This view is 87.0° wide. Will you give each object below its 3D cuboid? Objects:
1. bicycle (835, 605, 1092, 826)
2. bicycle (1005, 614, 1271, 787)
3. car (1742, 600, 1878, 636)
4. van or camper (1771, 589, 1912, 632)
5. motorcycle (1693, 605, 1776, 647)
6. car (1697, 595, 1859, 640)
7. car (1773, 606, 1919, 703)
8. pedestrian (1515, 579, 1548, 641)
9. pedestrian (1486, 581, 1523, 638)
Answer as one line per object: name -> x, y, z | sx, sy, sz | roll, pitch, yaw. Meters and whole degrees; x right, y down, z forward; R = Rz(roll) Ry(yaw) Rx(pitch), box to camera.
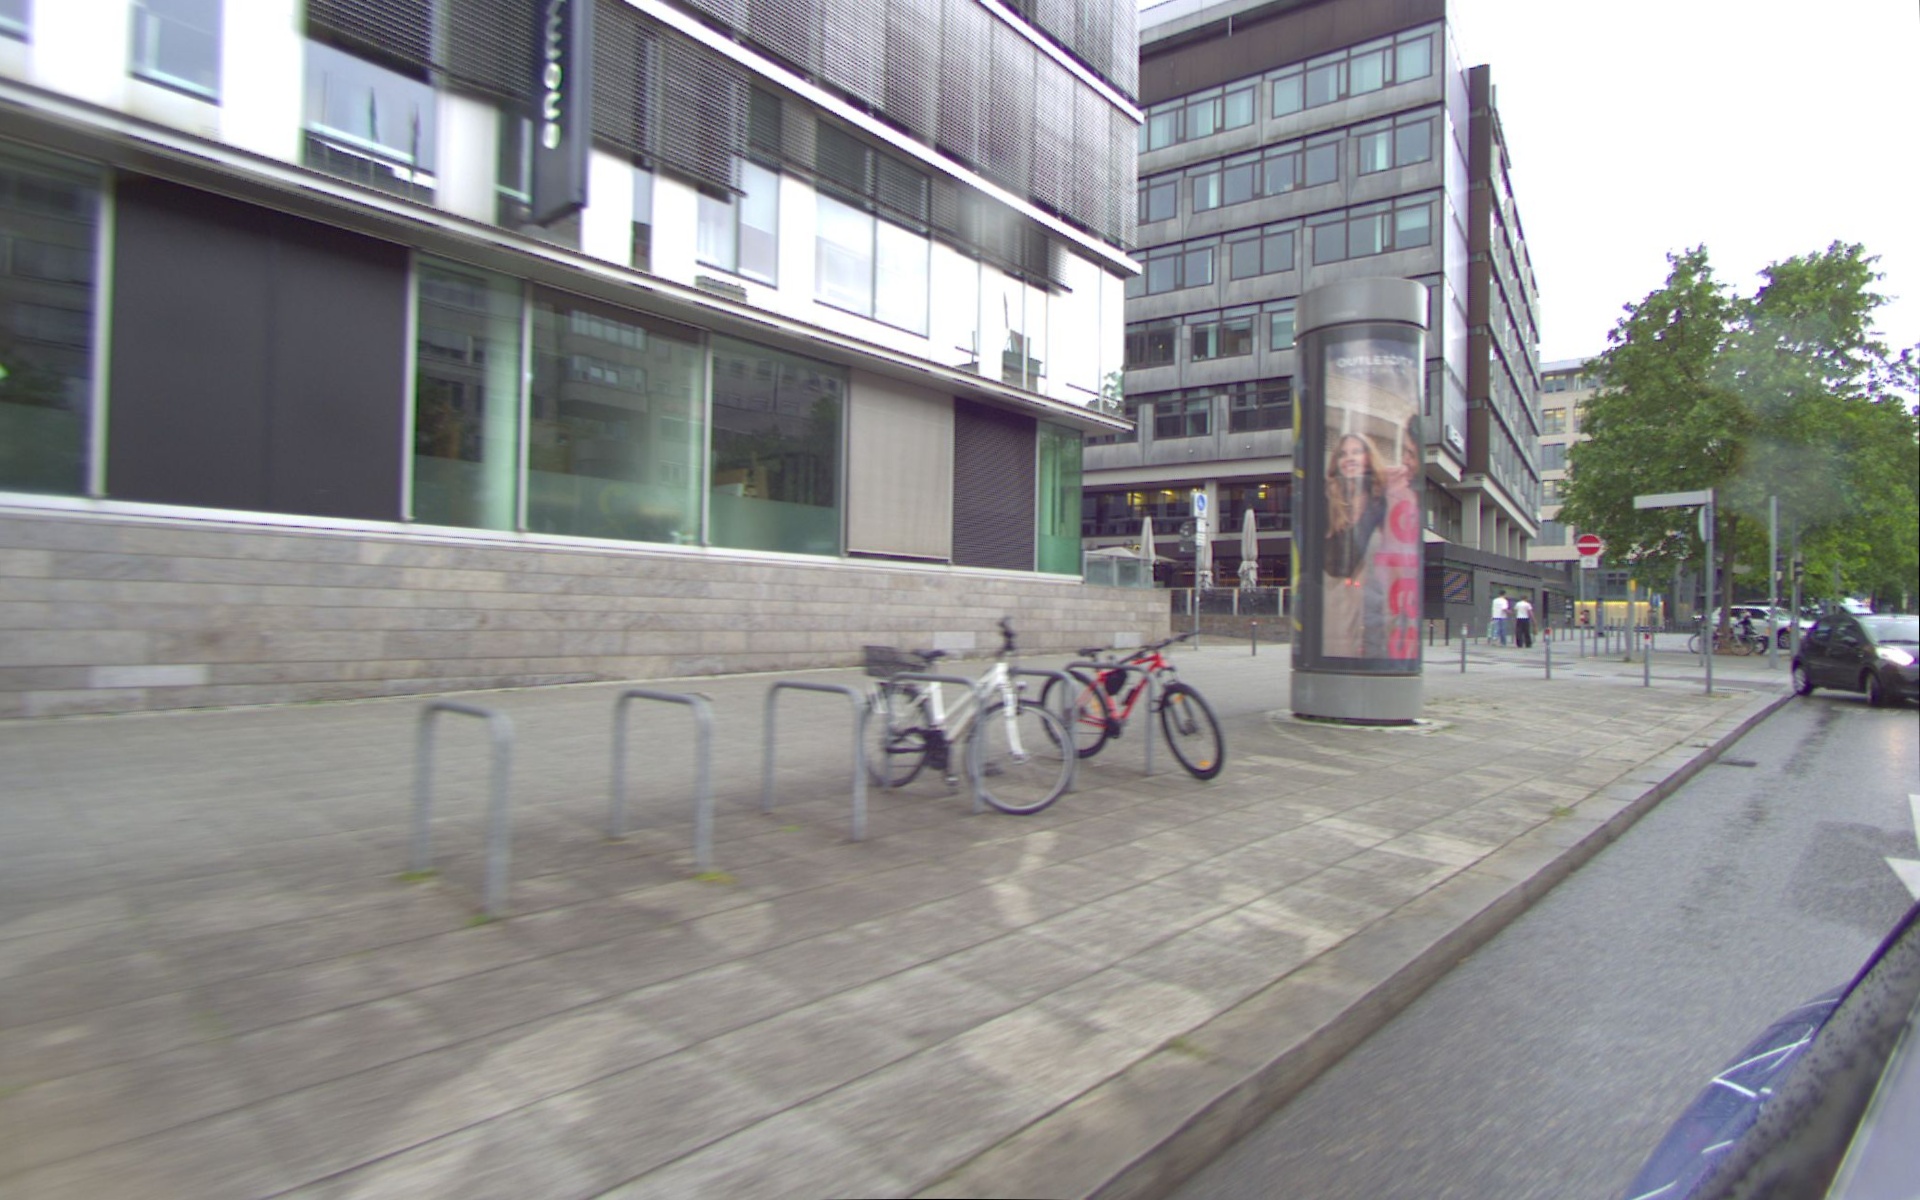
bicycle -> -0.039, 0.667, 6.690 | 0.649, 1.212, 1.839 | 1, 1, -40
bicycle -> 1.325, 0.701, 7.903 | 0.794, 1.118, 1.987 | 1, 0, -40
car -> 38.300, 0.819, 45.750 | 1.876, 1.557, 4.366 | 0, -1, -18
van or camper -> 53.792, 0.676, 61.964 | 2.266, 2.478, 6.277 | 0, -1, -15
motorcycle -> 25.870, 0.860, 33.830 | 0.665, 1.375, 2.088 | 1, -2, -37
car -> 32.517, 0.701, 40.439 | 1.876, 1.671, 4.813 | 0, -1, -15
car -> 15.425, 0.820, 16.708 | 1.611, 1.435, 3.818 | 0, -1, 13
pedestrian -> 19.249, 0.334, 34.092 | 0.848, 2.065, 0.742 | -1, -2, 39
pedestrian -> 18.529, 0.325, 34.435 | 0.882, 1.892, 0.803 | 1, -2, -38
